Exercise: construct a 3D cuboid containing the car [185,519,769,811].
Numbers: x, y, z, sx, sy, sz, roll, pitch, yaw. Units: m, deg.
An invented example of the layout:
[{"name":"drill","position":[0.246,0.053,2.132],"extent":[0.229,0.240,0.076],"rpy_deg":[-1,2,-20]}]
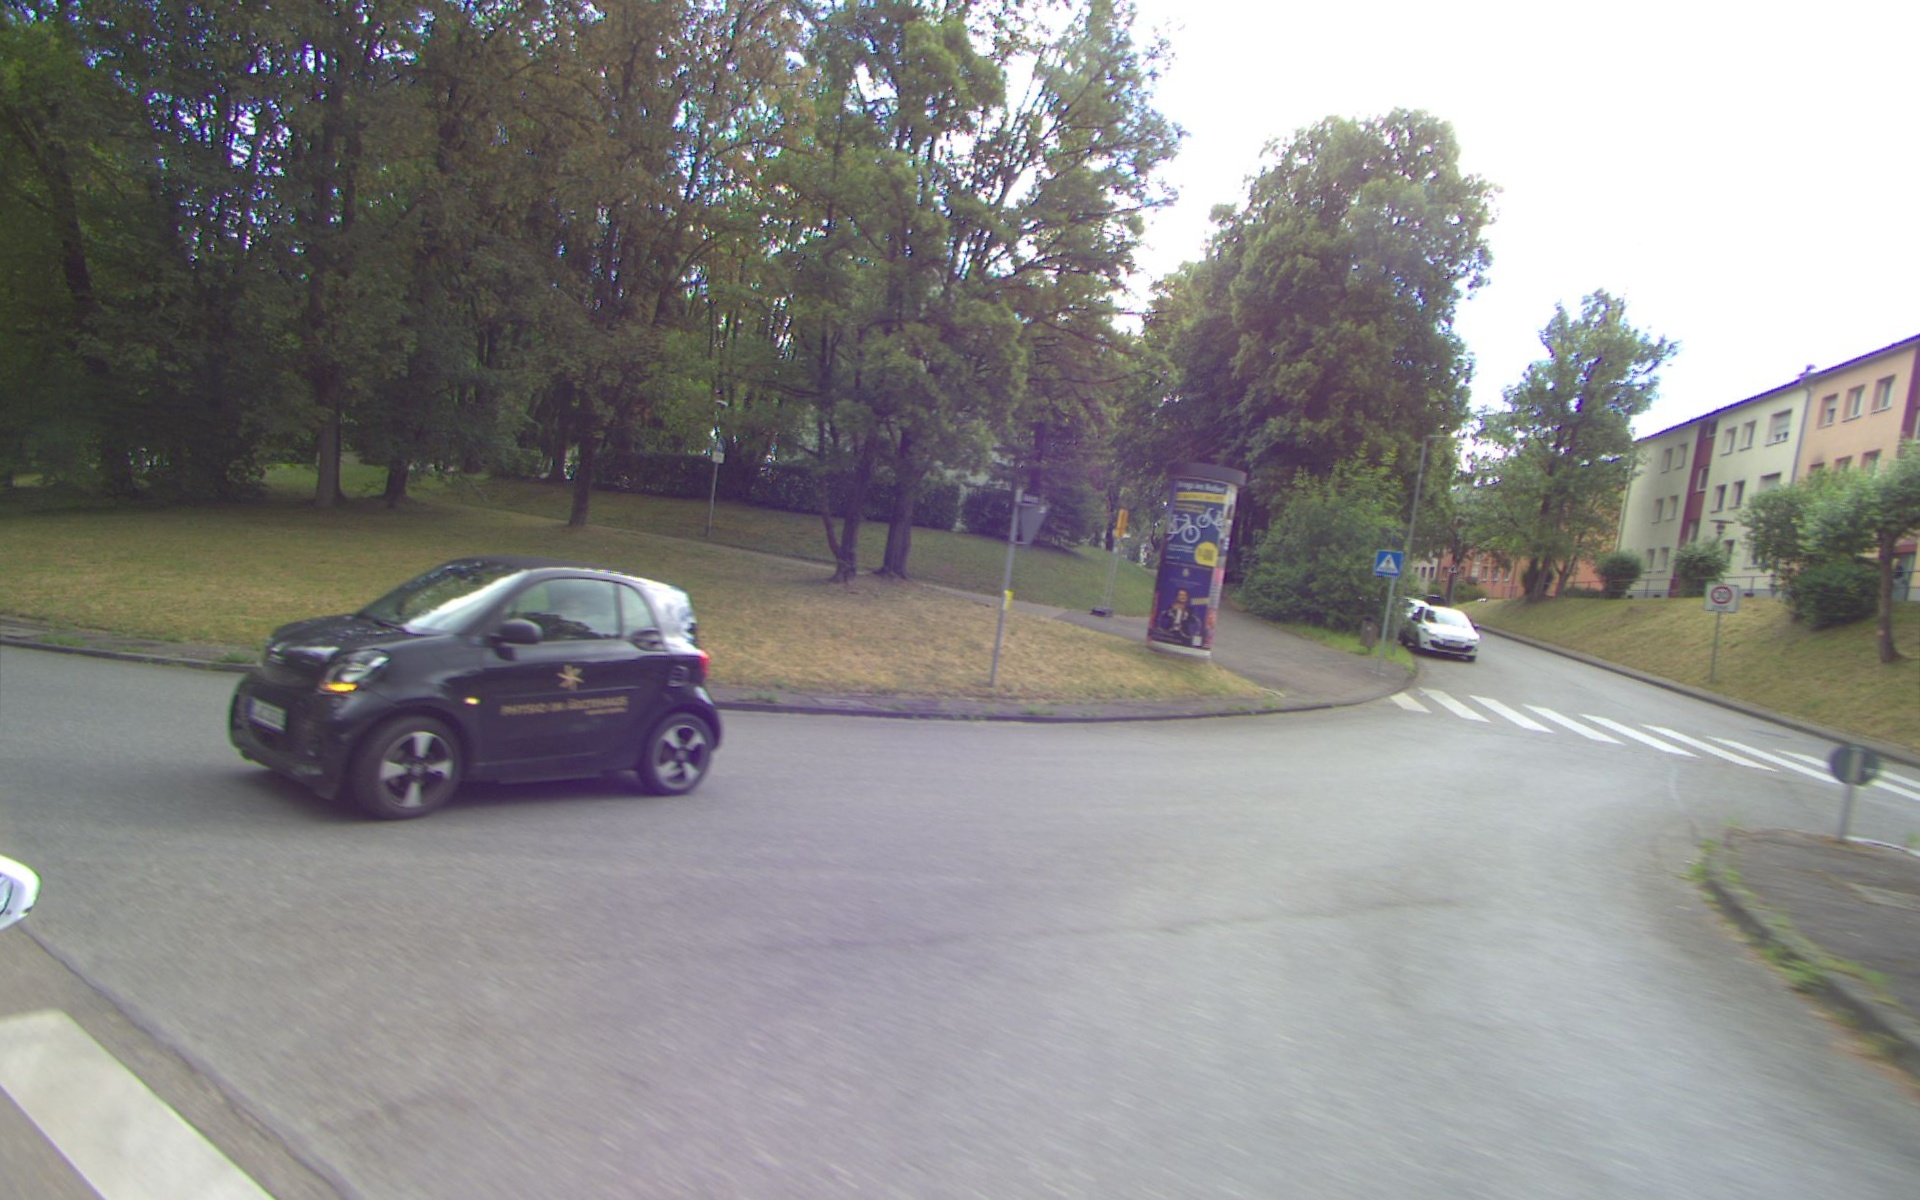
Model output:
[{"name":"car","position":[-3.220,0.428,7.208],"extent":[1.642,1.513,3.303],"rpy_deg":[6,0,36]}]
